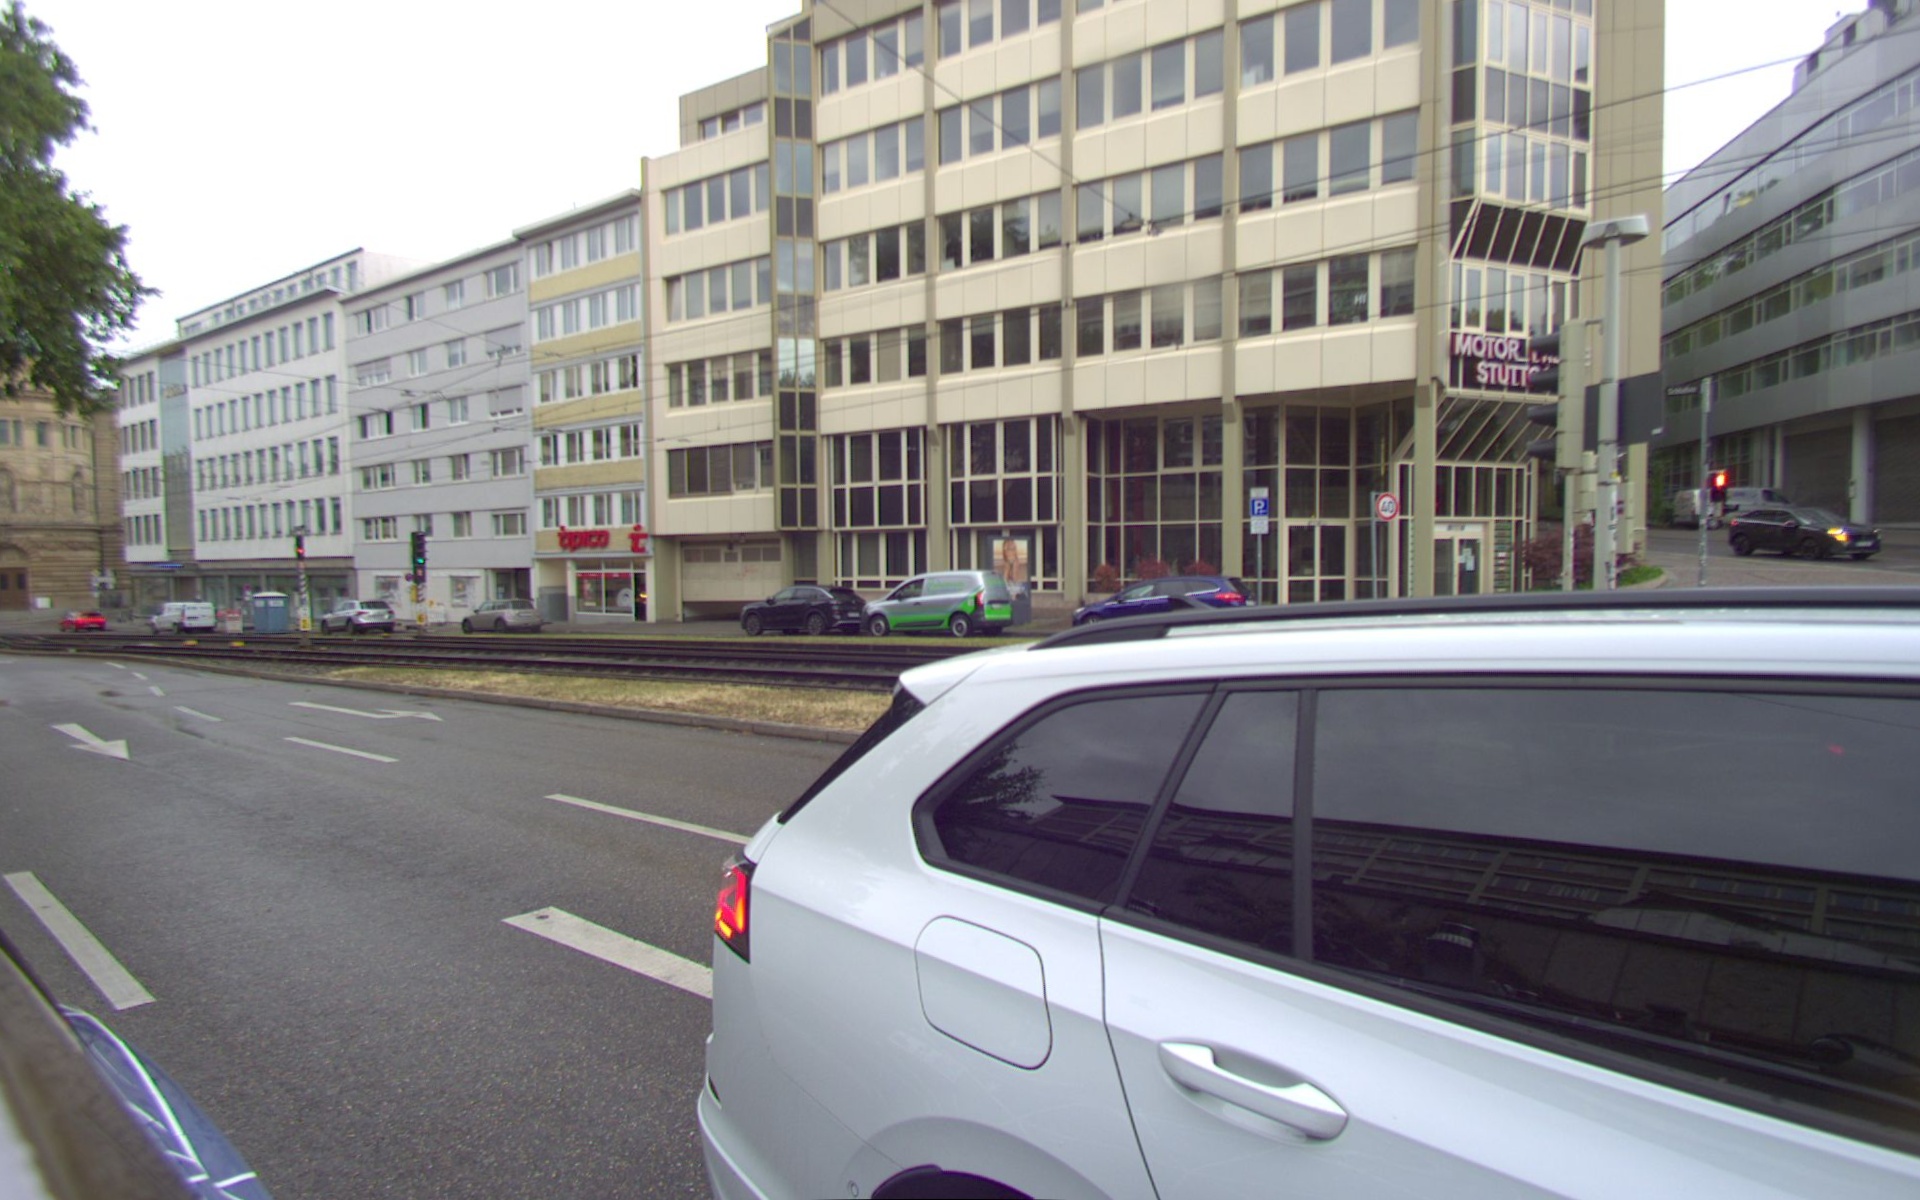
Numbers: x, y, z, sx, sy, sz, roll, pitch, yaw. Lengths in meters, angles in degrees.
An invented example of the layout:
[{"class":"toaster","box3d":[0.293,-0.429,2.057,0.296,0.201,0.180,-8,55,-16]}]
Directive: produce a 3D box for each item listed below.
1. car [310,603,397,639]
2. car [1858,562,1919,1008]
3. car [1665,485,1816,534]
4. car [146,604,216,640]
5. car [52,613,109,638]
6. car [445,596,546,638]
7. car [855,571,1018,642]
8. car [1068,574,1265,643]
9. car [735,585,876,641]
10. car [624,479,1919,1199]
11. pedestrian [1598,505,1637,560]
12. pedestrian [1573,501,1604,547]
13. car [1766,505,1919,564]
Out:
[{"class":"car","box3d":[-28.311,0.950,47.214,4.066,1.524,1.869,-1,3,34]},{"class":"car","box3d":[5.299,0.575,2.562,4.473,1.453,1.777,-1,0,41]},{"class":"car","box3d":[37.626,-4.352,48.940,5.357,2.029,1.993,-1,0,12]},{"class":"car","box3d":[-46.549,1.291,60.458,4.465,1.949,1.869,-1,3,34]},{"class":"car","box3d":[-62.207,1.781,71.564,4.465,1.636,1.869,-1,3,34]},{"class":"car","box3d":[-18.714,0.666,40.712,4.066,1.524,1.782,-1,3,34]},{"class":"car","box3d":[-0.676,0.170,27.869,4.204,1.759,1.782,-1,2,33]},{"class":"car","box3d":[4.816,0.192,23.854,4.207,1.488,1.780,-1,0,35]},{"class":"car","box3d":[-4.717,0.379,30.759,4.066,1.524,1.782,-1,3,34]},{"class":"car","box3d":[1.609,0.624,1.165,4.473,1.453,1.777,-1,0,41]},{"class":"pedestrian","box3d":[22.225,-2.276,34.227,0.821,1.800,0.759,-2,3,6]},{"class":"pedestrian","box3d":[23.050,-2.785,37.133,0.711,1.651,0.759,-2,3,6]},{"class":"car","box3d":[27.533,-2.070,30.975,1.974,1.591,4.884,-2,5,3]}]
